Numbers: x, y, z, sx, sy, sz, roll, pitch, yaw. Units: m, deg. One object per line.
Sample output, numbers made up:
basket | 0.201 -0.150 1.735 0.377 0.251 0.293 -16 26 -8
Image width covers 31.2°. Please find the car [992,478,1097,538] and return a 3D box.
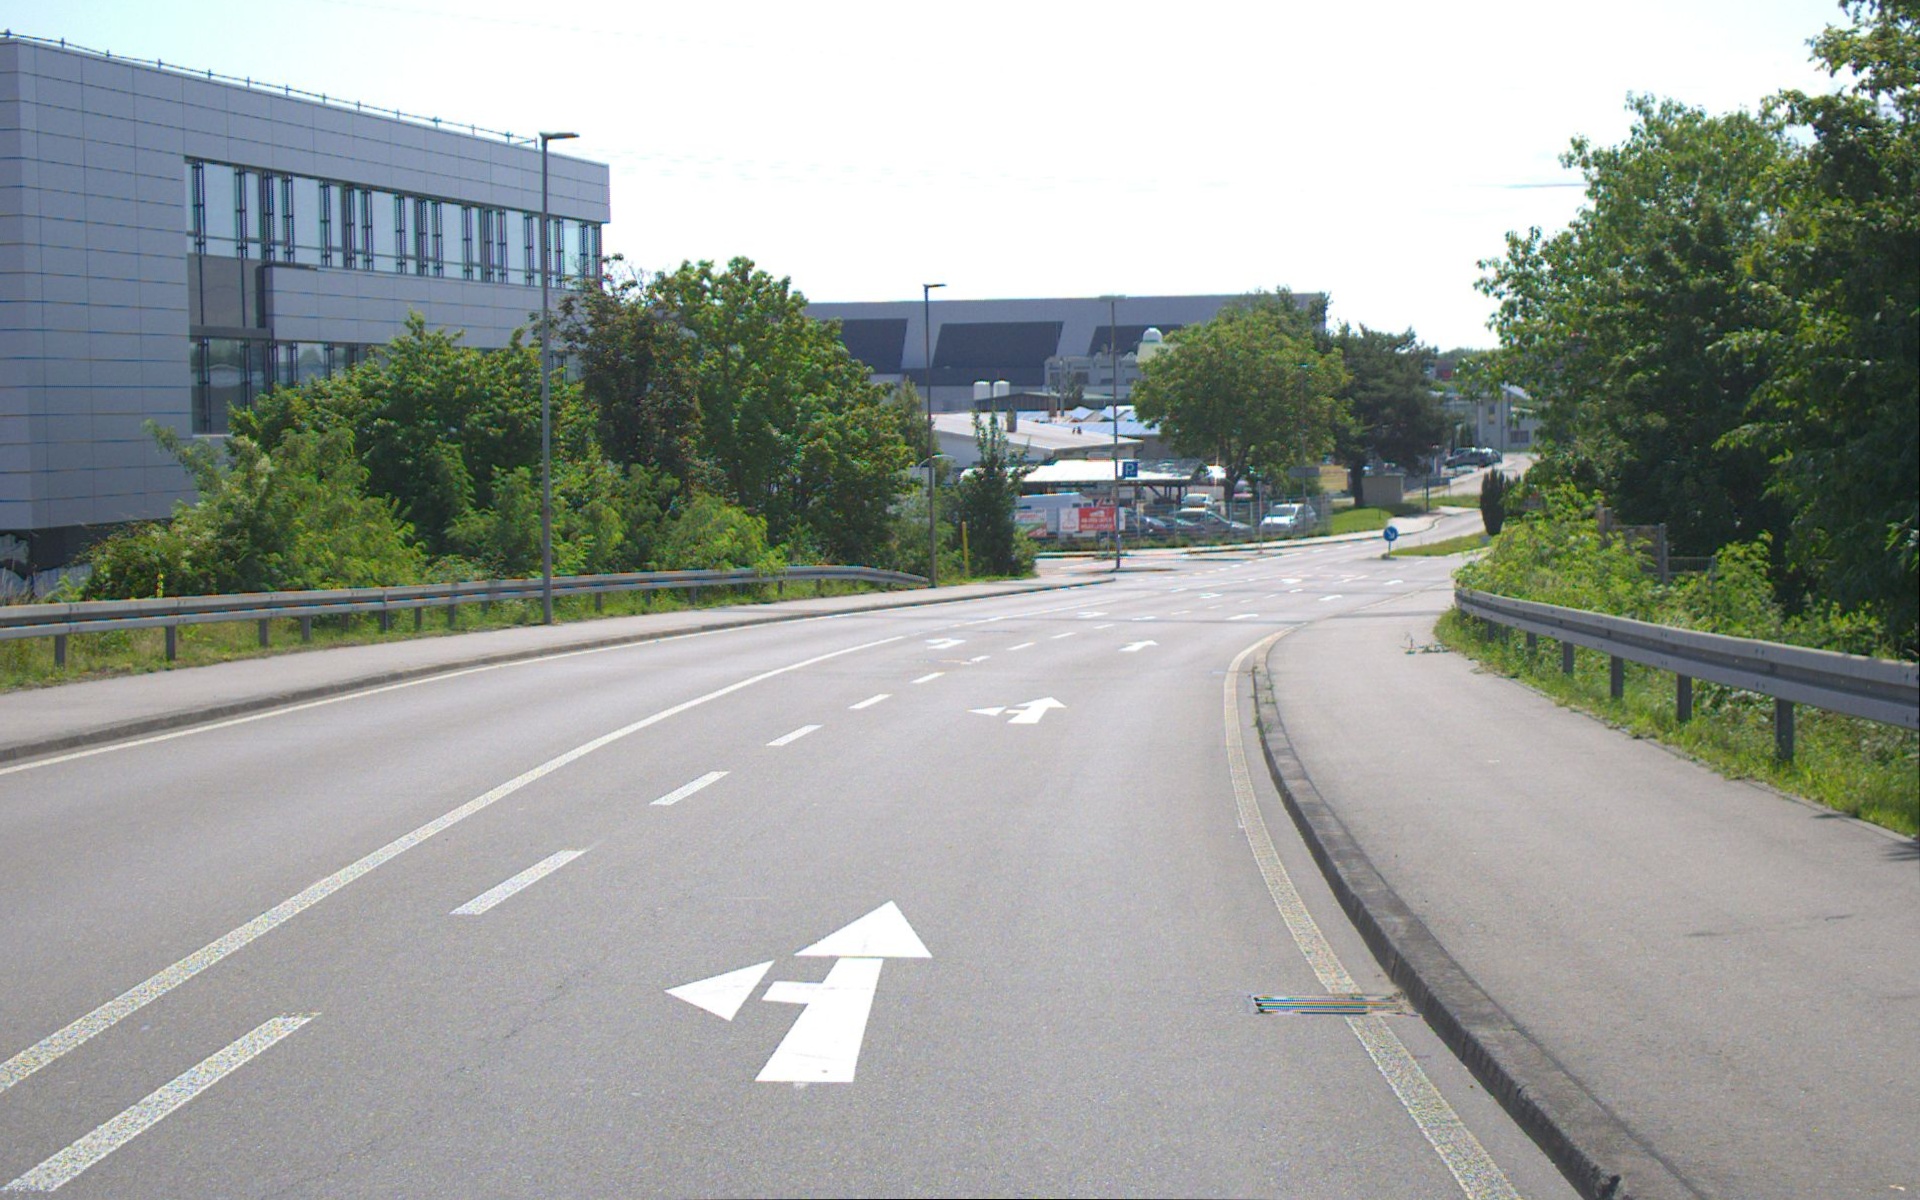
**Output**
car | 3.737 -4.068 152.084 4.362 2.599 1.995 2 2 41

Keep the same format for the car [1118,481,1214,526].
car | 9.441 -4.422 157.701 3.996 1.897 1.996 3 5 39

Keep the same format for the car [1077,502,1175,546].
car | 7.441 -3.412 154.042 3.997 1.774 1.996 3 5 40

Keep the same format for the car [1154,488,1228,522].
car | 12.709 -5.227 189.180 3.987 1.843 1.835 0 2 2
